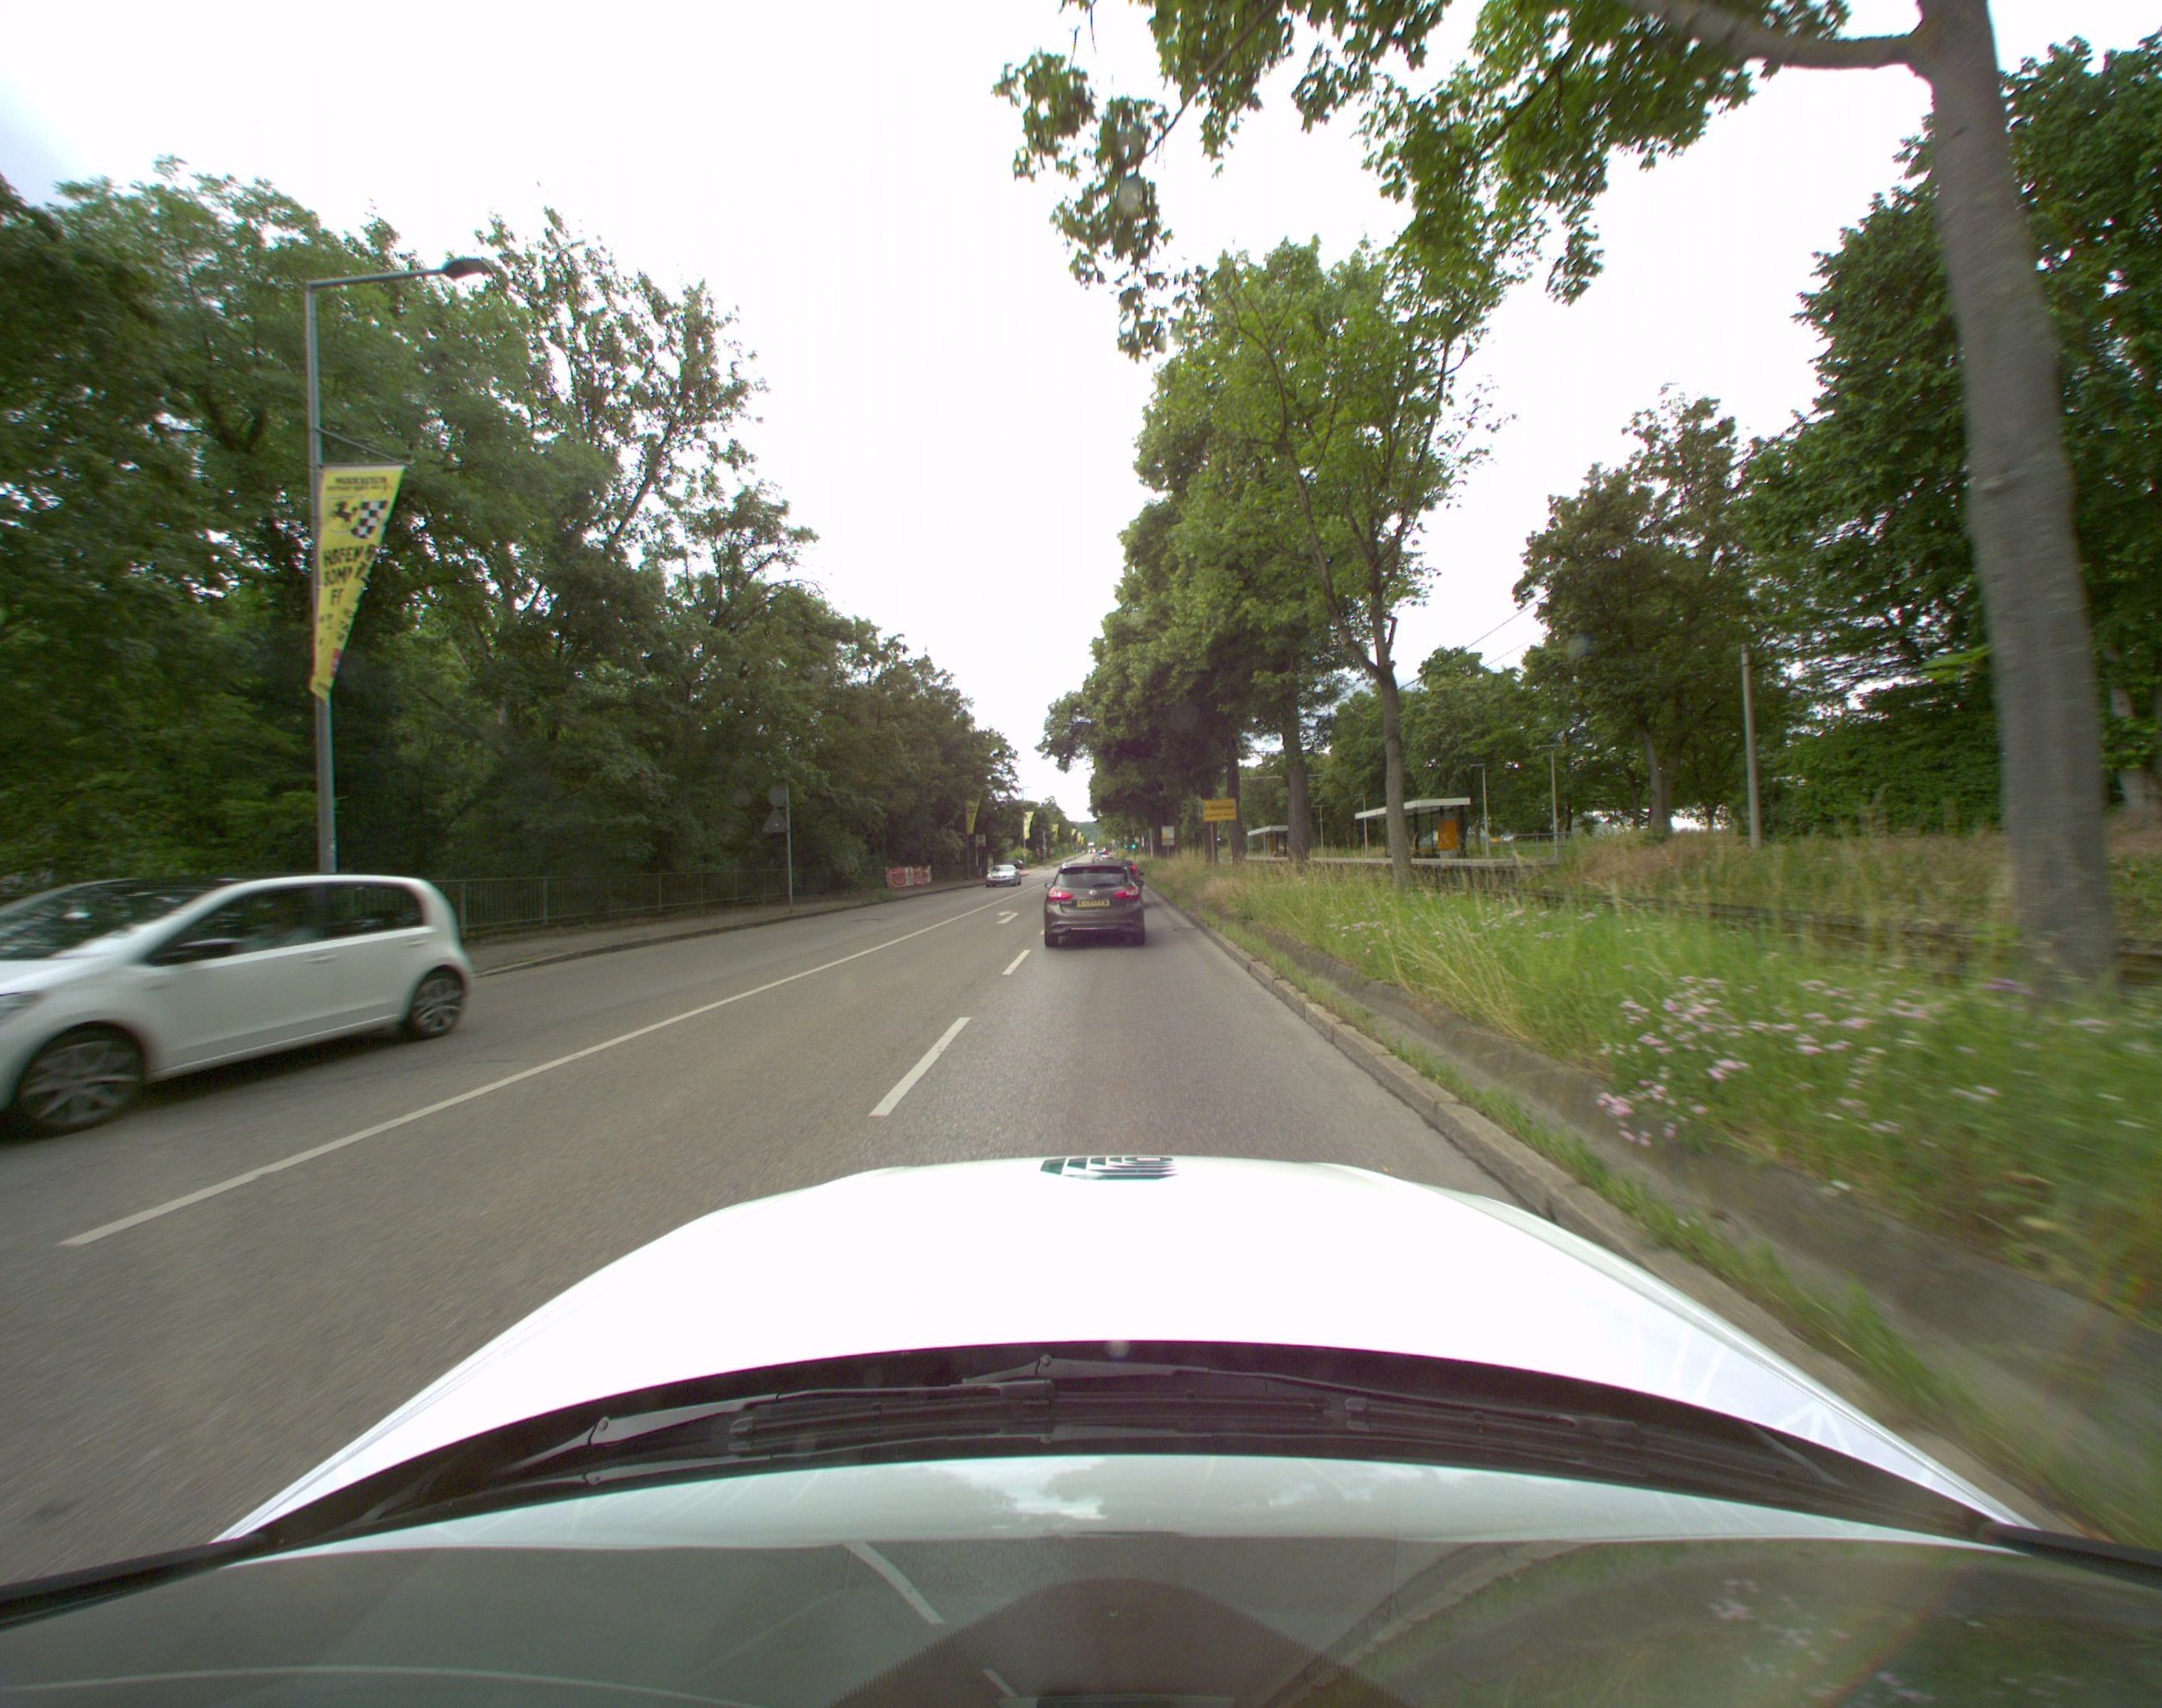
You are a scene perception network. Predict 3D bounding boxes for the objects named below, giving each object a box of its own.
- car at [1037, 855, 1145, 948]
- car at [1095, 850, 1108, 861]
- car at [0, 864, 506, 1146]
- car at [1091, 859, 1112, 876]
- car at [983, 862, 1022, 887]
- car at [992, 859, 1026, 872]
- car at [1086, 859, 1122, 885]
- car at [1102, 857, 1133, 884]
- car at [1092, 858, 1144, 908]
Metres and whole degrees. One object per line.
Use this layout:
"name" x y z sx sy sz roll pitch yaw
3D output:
"car" 0.240 0.813 15.472 1.776 1.507 3.698 -2 0 2
"car" 3.238 0.283 126.201 1.986 1.574 4.001 0 -1 2
"car" -6.432 0.838 6.040 1.574 1.466 3.698 -2 0 2
"car" 1.786 1.141 70.836 1.685 1.441 3.543 -1 0 2
"car" -4.580 1.184 48.145 1.751 1.337 3.698 -2 0 2
"car" -8.553 1.367 96.843 3.652 1.337 1.773 -2 -1 20
"car" 1.365 1.026 47.247 1.986 1.412 4.001 0 -1 2
"car" 2.034 0.905 45.945 1.685 1.441 3.543 -1 0 2
"car" 1.140 0.861 25.859 1.496 1.441 3.543 -1 0 2
